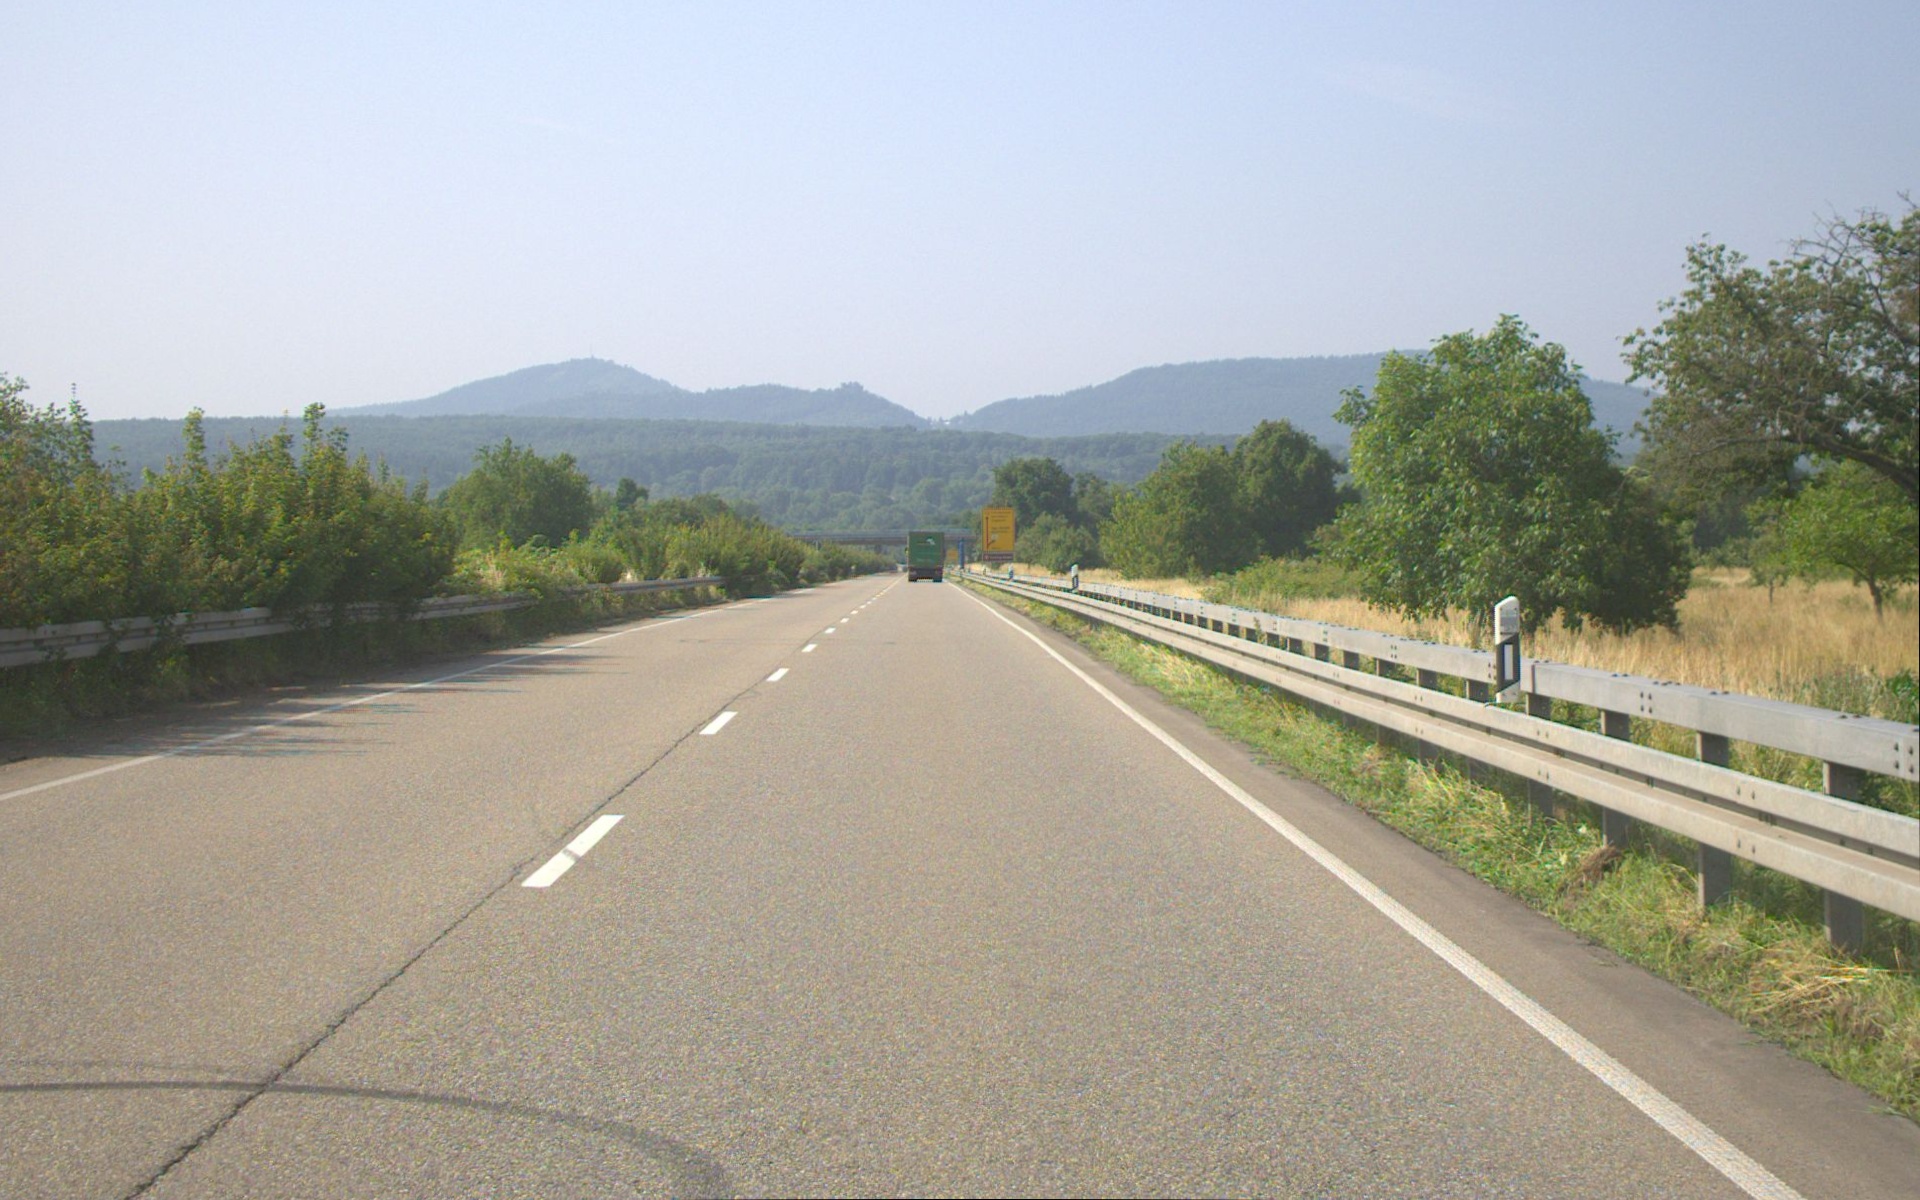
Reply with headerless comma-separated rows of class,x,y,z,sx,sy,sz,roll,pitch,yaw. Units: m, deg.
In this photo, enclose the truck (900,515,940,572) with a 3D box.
truck,-2.908,-4.185,250.911,2.722,3.952,10.416,1,1,0
